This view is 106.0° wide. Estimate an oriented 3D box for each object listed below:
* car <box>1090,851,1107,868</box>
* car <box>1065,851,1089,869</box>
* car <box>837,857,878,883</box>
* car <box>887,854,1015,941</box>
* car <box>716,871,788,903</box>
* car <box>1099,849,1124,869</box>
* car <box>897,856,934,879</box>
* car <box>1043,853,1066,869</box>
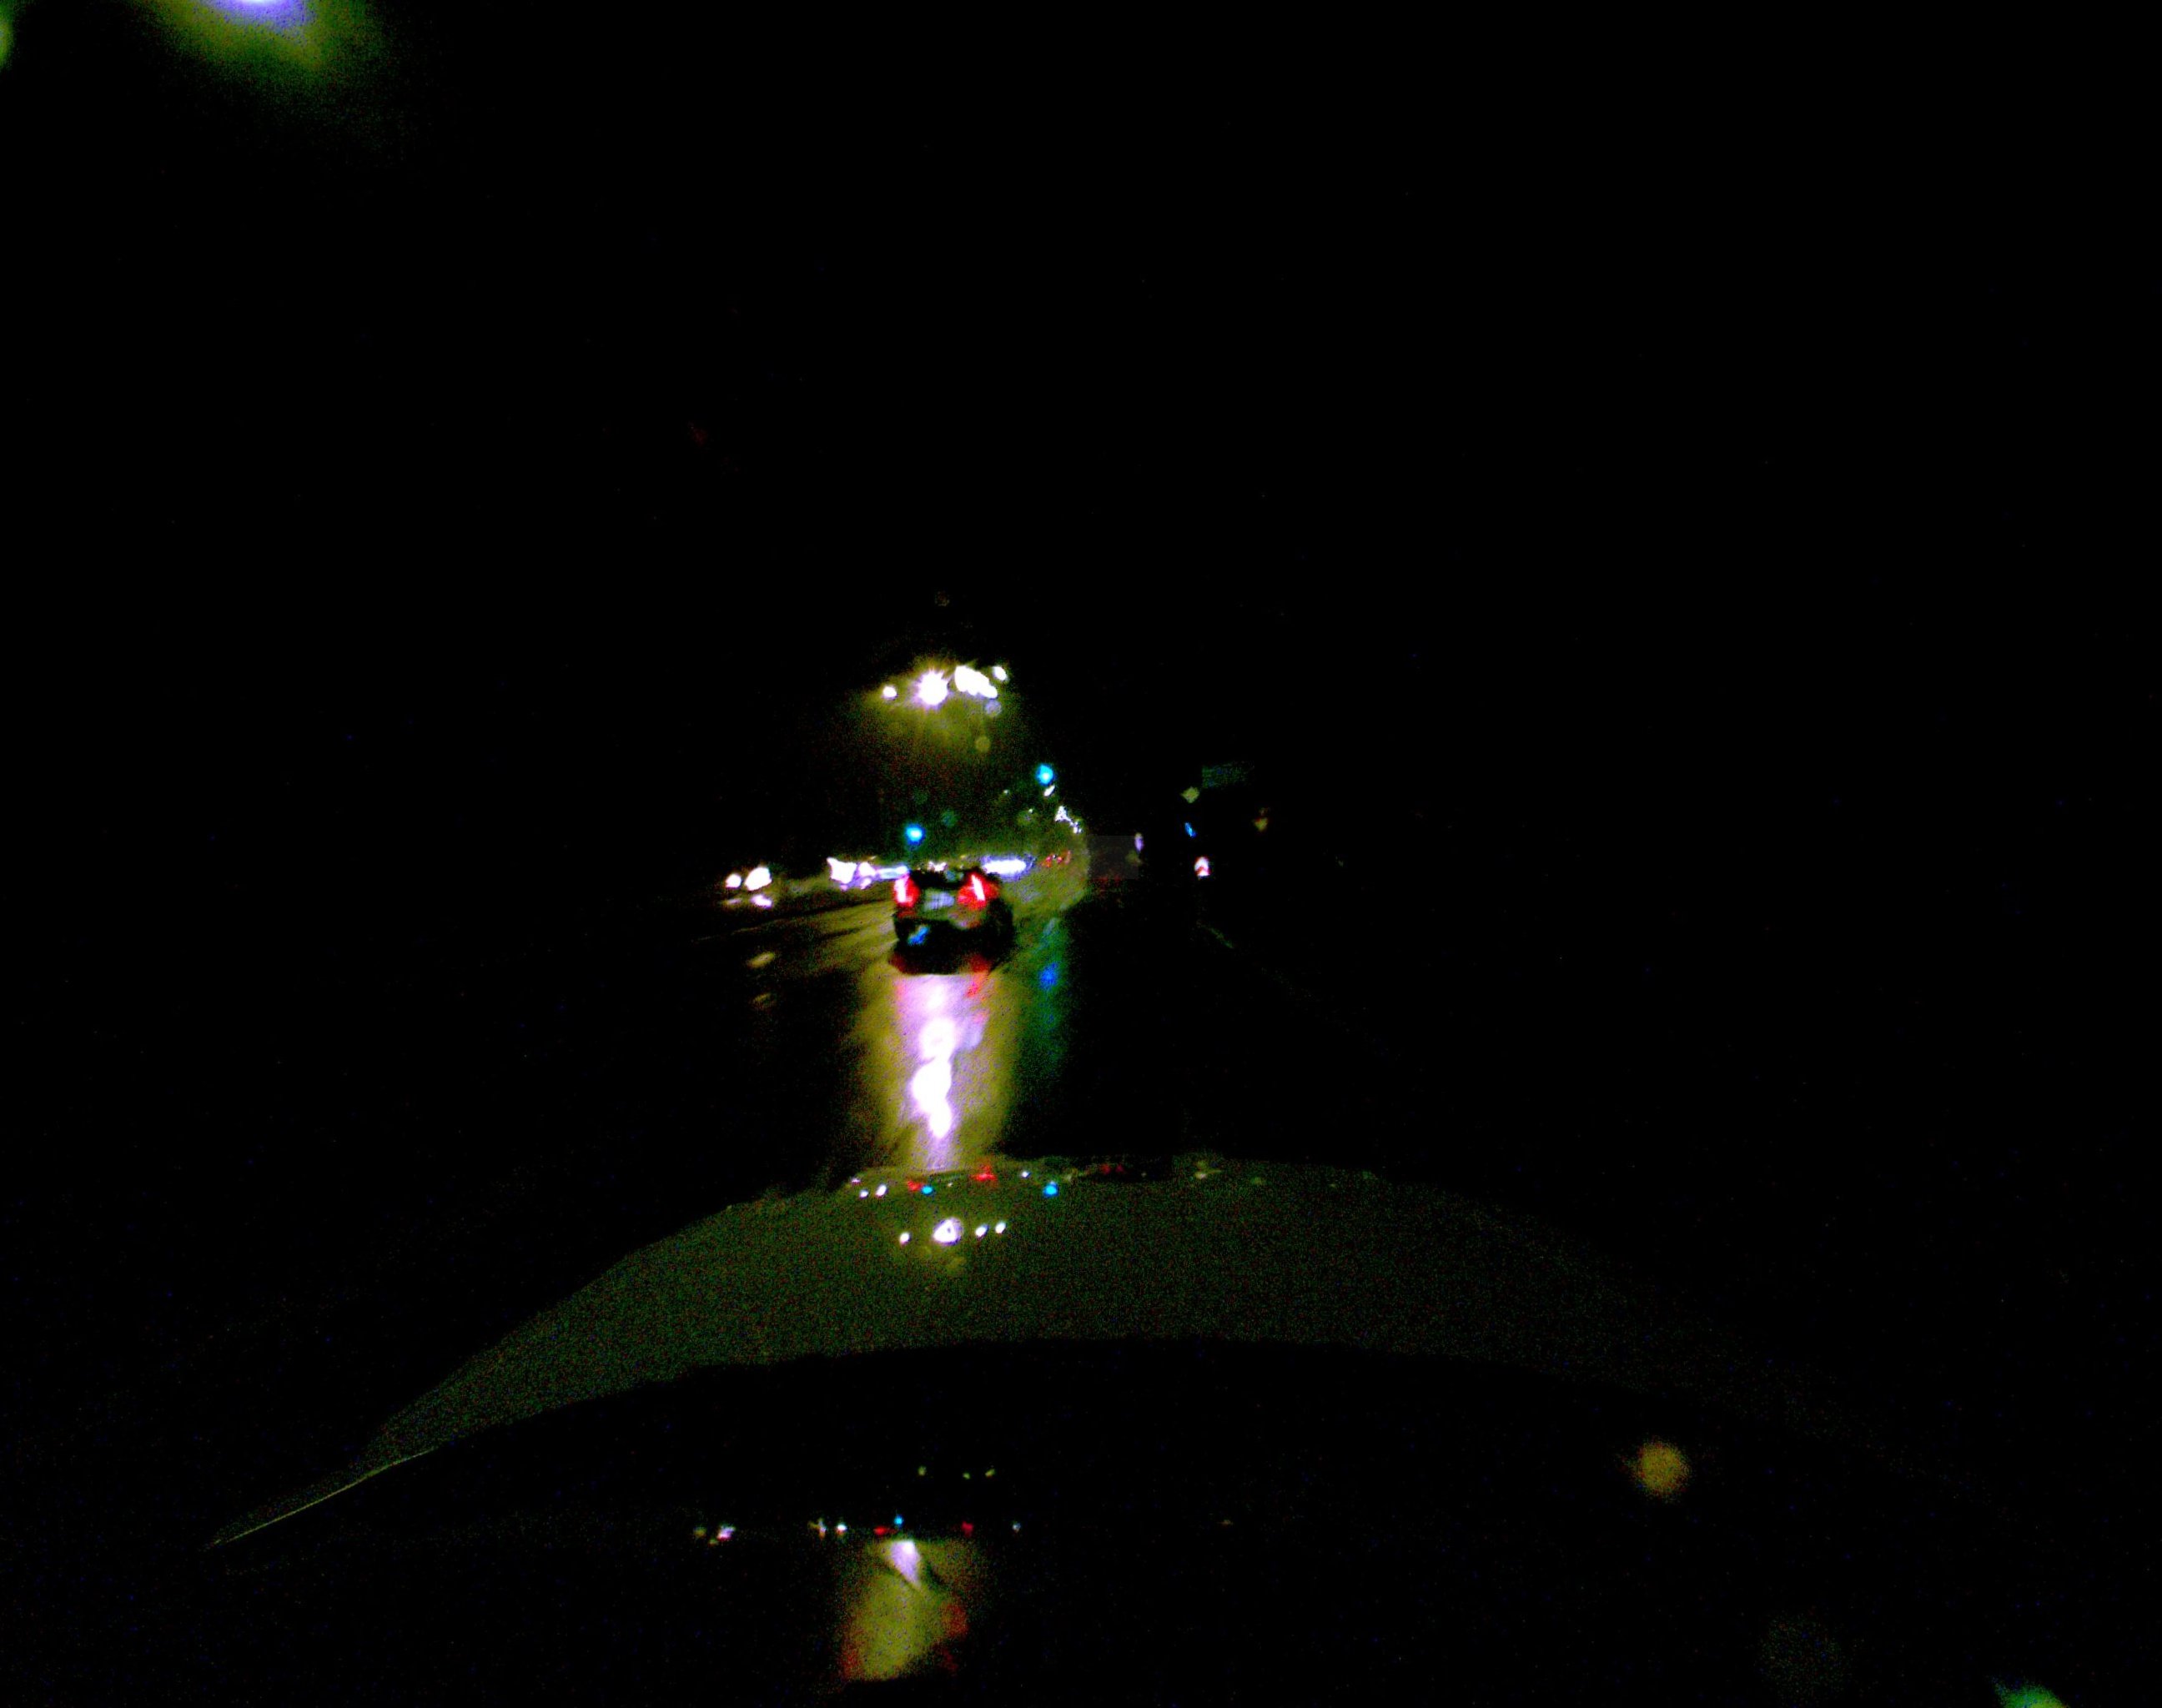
[{"bbox_3d":[2.206,0.706,100.636,1.986,1.839,4.001,4,-3,2],"label":"car"},{"bbox_3d":[-0.363,0.603,83.456,2.169,1.602,4.002,3,-2,2],"label":"car"},{"bbox_3d":[-17.058,1.181,62.351,1.756,1.892,4.207,-1,0,2],"label":"car"},{"bbox_3d":[-2.409,0.750,16.181,1.790,1.452,4.269,-1,0,1],"label":"car"},{"bbox_3d":[-14.307,1.426,35.639,1.638,1.203,3.615,-1,0,0],"label":"car"},{"bbox_3d":[2.710,0.460,71.558,1.901,1.602,4.005,3,-2,5],"label":"car"},{"bbox_3d":[-13.155,1.043,64.893,1.774,1.608,4.247,-4,0,3],"label":"car"},{"bbox_3d":[-3.181,0.875,97.478,2.167,1.602,4.005,3,-2,5],"label":"car"}]
